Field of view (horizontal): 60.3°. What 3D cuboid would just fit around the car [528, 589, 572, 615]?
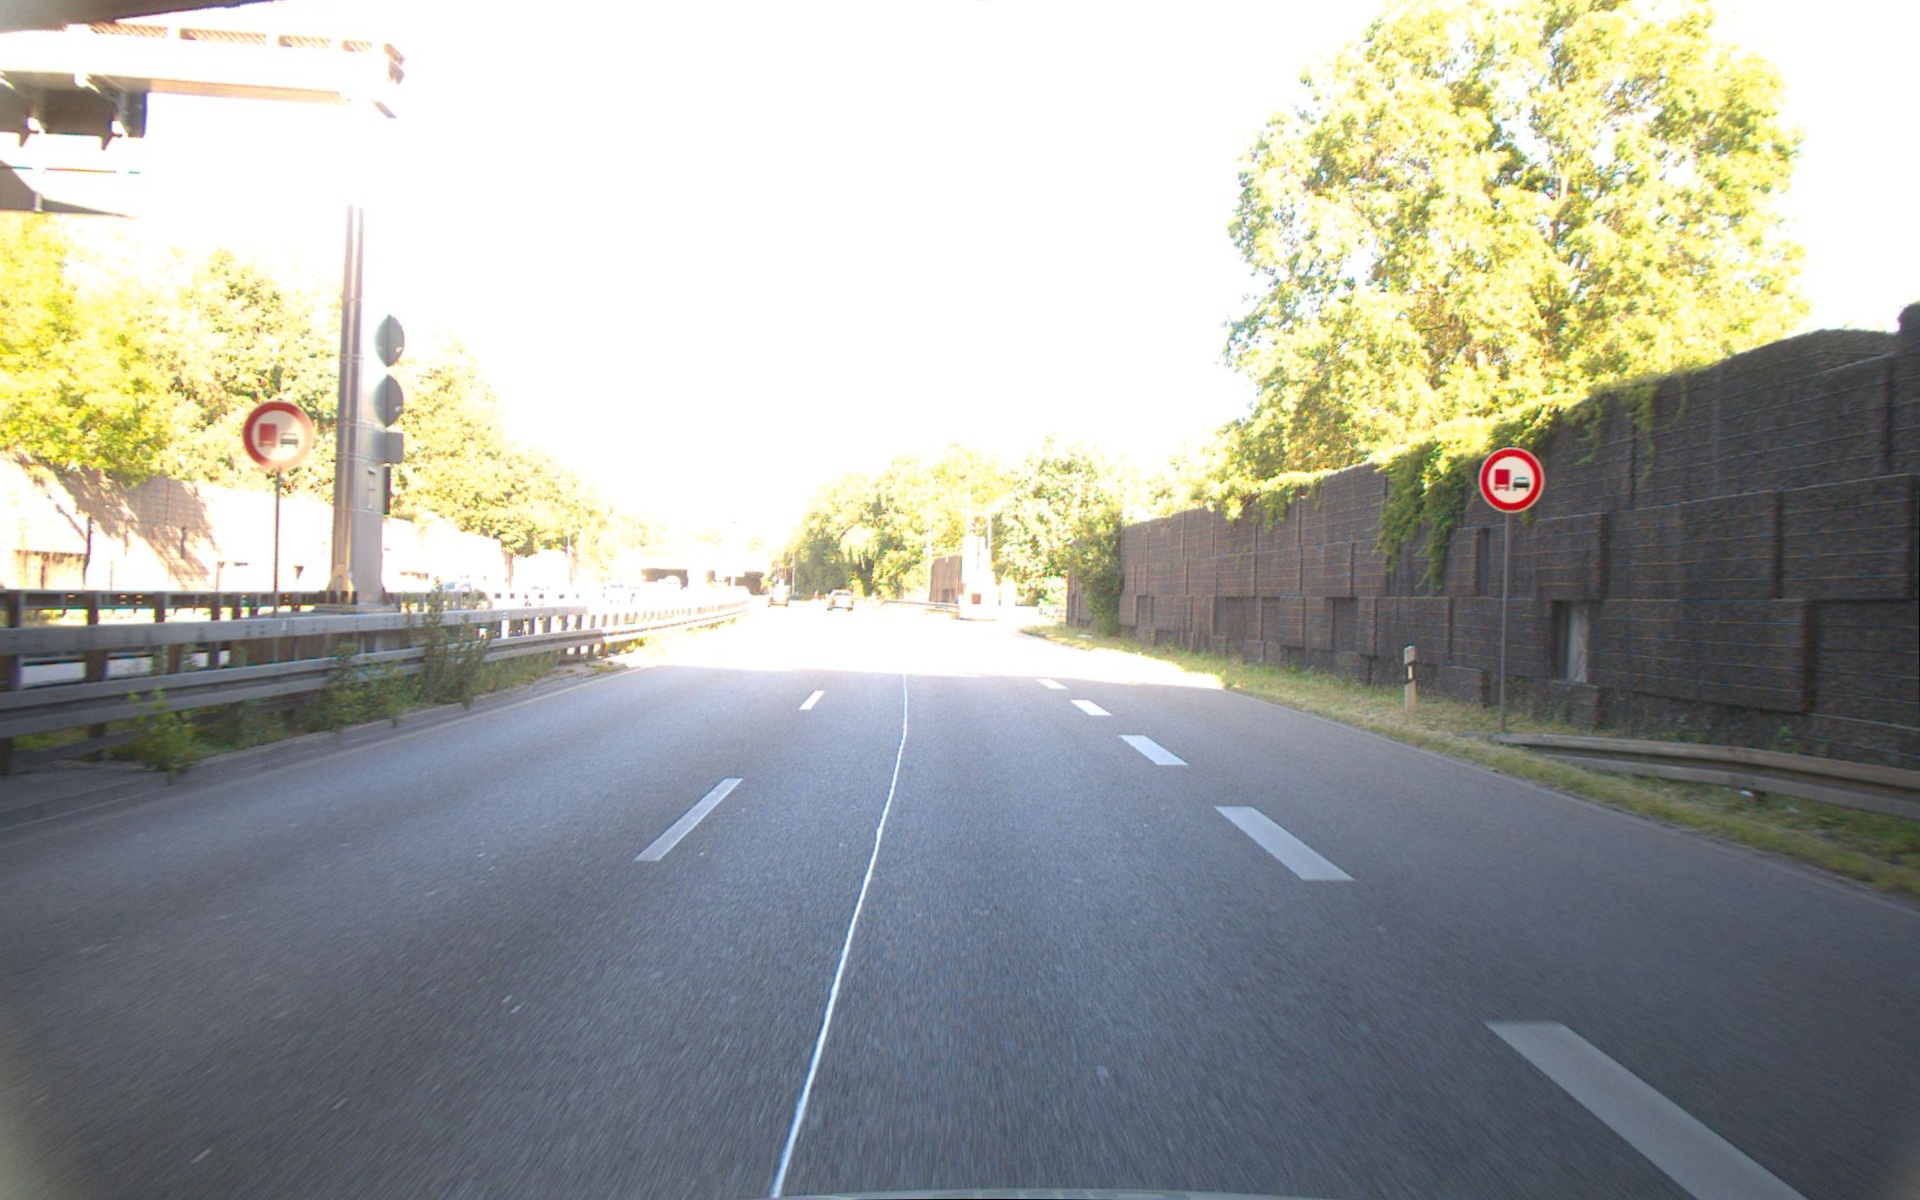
[{"bbox_3d":[-24.420,0.092,98.655,1.860,1.446,4.131,0,1,-4],"label":"car"}]

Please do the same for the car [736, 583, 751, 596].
[{"bbox_3d":[-33.191,-1.589,253.517,1.958,1.959,3.989,2,1,-12],"label":"car"}]

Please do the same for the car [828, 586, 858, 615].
[{"bbox_3d":[-8.453,0.021,119.550,1.954,1.959,3.998,2,1,-2],"label":"car"}]

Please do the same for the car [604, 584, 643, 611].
[{"bbox_3d":[-22.061,-0.201,108.578,1.860,1.601,4.804,3,1,-4],"label":"car"}]

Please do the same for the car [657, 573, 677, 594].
[{"bbox_3d":[-40.250,-2.294,227.289,2.081,2.730,6.578,3,1,-7],"label":"car"}]

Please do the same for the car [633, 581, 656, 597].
[{"bbox_3d":[-32.599,-1.111,171.221,1.956,1.505,4.528,3,1,-7],"label":"car"}]

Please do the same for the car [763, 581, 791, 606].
[{"bbox_3d":[-15.132,-0.521,137.152,1.954,1.959,3.998,2,1,-2],"label":"car"}]

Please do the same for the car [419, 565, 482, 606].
[{"bbox_3d":[-21.481,-0.631,69.857,1.515,1.601,4.392,3,1,-4],"label":"car"}]
